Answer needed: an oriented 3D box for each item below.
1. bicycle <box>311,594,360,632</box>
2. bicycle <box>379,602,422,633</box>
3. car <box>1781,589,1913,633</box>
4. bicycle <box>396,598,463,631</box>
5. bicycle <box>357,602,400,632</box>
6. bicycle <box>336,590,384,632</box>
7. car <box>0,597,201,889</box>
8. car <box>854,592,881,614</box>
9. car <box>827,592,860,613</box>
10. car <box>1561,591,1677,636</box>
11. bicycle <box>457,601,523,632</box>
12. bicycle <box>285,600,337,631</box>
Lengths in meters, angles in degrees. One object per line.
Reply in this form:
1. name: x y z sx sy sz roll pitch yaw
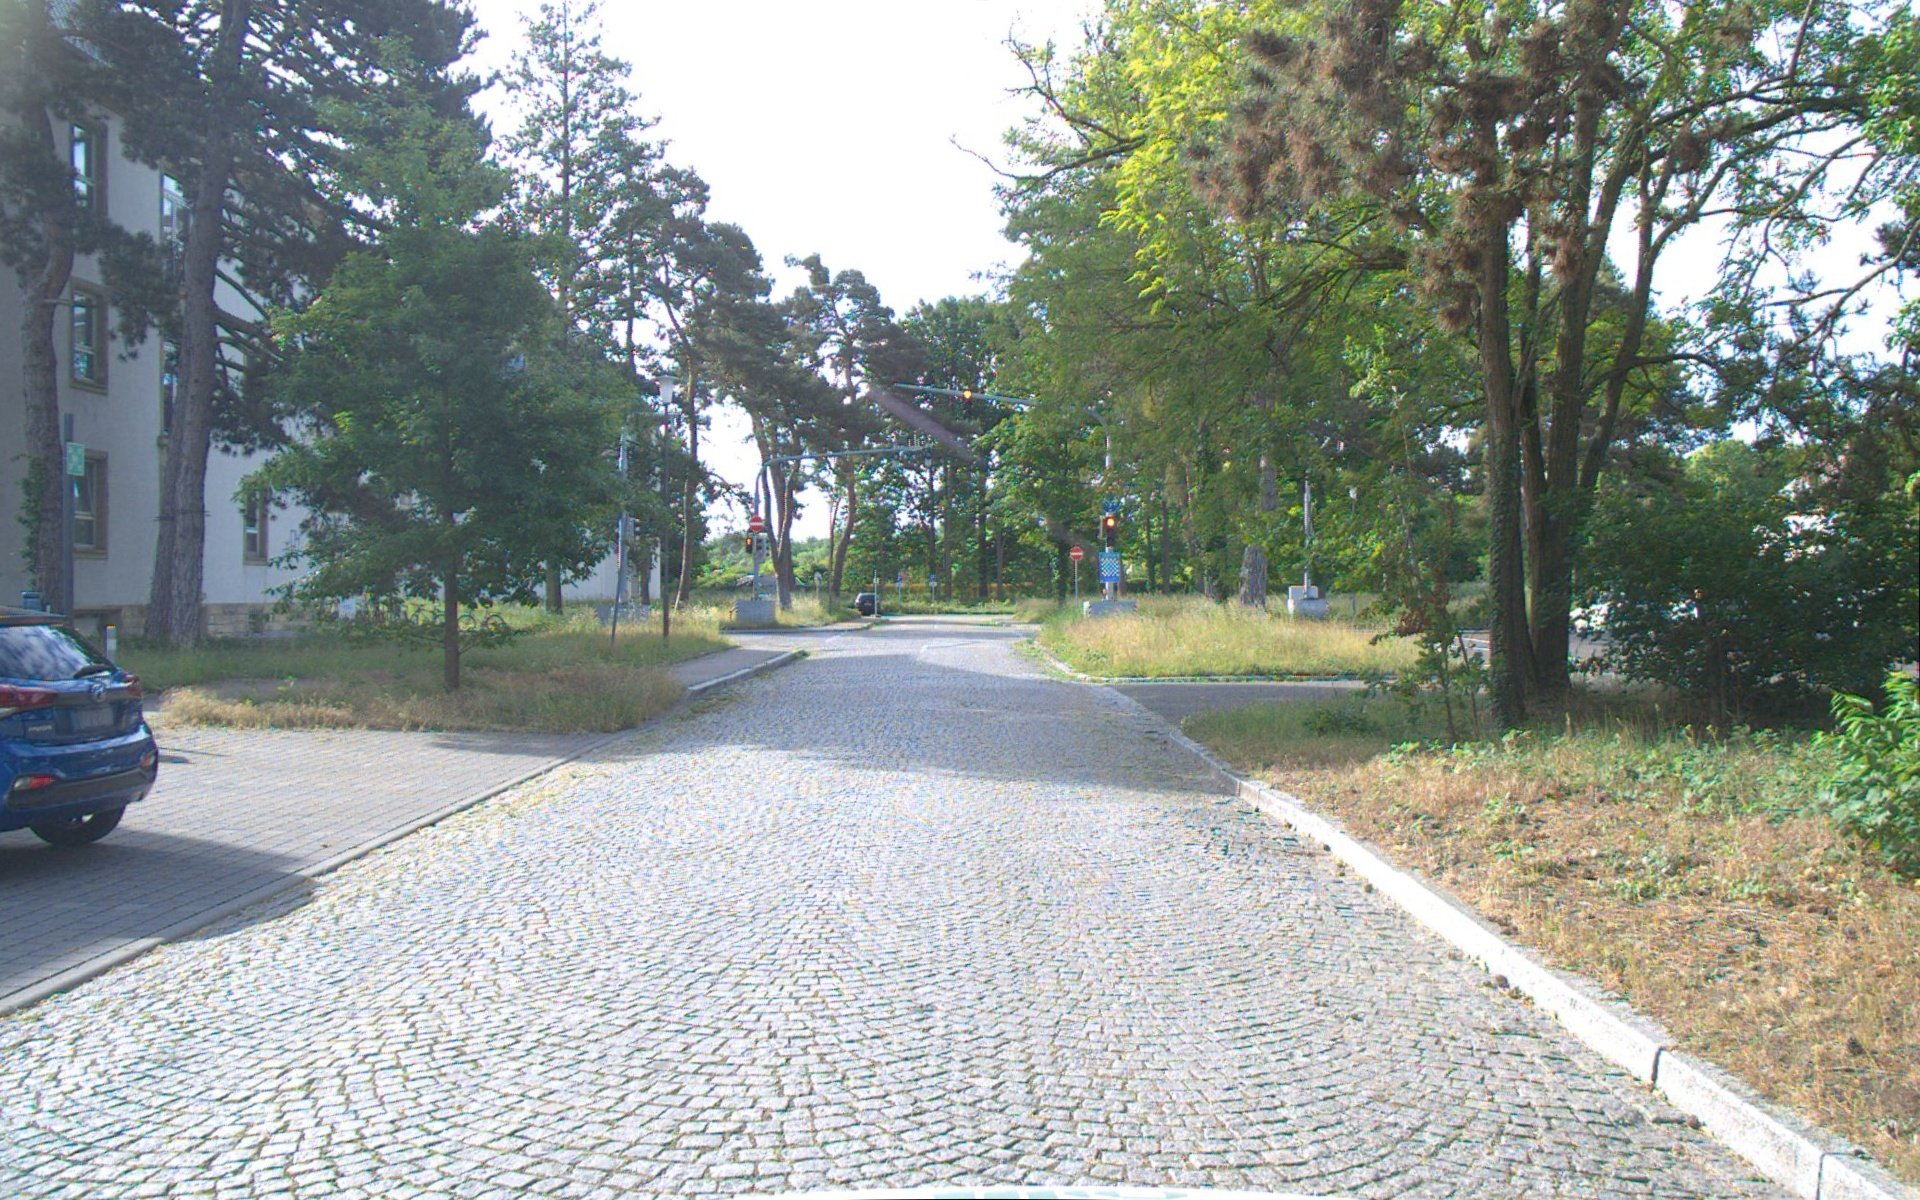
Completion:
1. bicycle: -22.318 0.450 59.172 0.809 1.303 2.553 0 0 -1
2. bicycle: -20.016 0.617 59.204 0.809 1.065 2.124 0 0 -1
3. car: 28.458 0.315 53.224 1.697 1.335 4.329 -1 0 -4
4. bicycle: -18.580 0.517 57.971 2.075 1.128 0.828 0 0 -4
5. bicycle: -20.783 0.600 59.151 0.809 1.065 2.124 0 0 -1
6. bicycle: -21.562 0.371 59.483 0.809 1.462 2.553 0 0 -1
7. car: -6.664 0.710 9.504 3.757 1.489 1.720 2 0 1
8. car: -6.471 0.186 115.679 1.808 1.512 3.998 0 0 -3
9. car: -8.454 0.150 120.399 1.745 1.516 3.758 0 0 7
10. car: 20.743 0.405 52.239 1.696 1.335 4.329 0 0 -4
11. bicycle: -16.497 0.558 58.091 2.075 1.065 0.828 0 0 -4
12. bicycle: -23.203 0.550 59.161 0.882 1.065 2.553 0 0 -1
